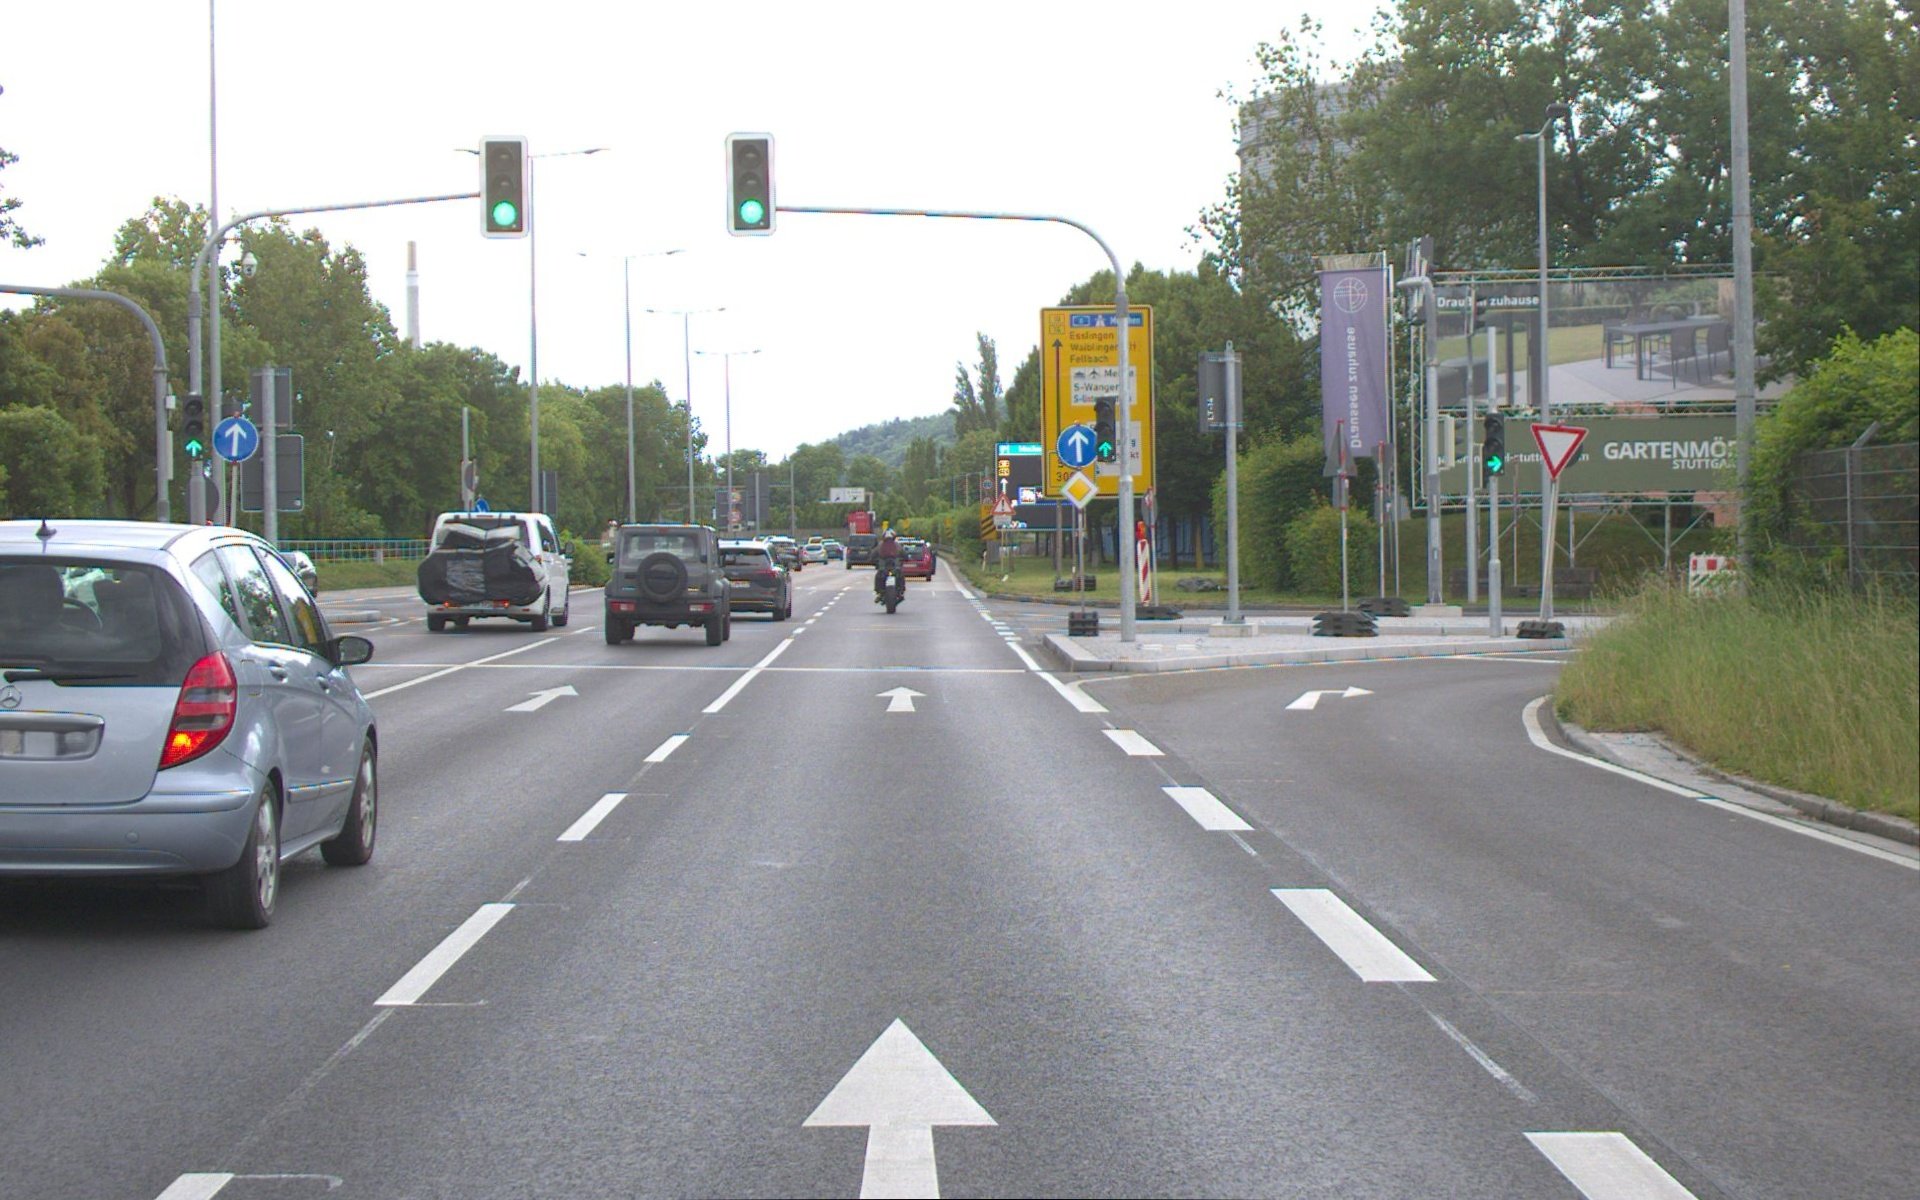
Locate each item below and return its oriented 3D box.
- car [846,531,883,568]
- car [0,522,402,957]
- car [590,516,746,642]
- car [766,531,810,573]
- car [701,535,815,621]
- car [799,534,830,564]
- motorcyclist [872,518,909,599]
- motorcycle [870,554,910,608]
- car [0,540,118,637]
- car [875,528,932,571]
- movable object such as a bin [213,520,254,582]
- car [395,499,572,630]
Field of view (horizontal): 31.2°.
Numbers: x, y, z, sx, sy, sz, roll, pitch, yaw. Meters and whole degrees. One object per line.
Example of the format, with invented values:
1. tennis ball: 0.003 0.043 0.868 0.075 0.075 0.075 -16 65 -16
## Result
1. car: -5.360 -2.853 193.107 1.993 2.007 4.000 1 1 -1
2. car: -3.489 0.461 14.434 1.710 1.525 4.001 1 1 -1
3. car: -4.124 -0.338 49.095 1.907 1.678 4.000 1 1 -1
4. car: -8.548 -2.386 170.862 1.993 2.007 4.000 1 1 -1
5. car: -3.658 -0.427 62.887 1.840 1.459 4.000 2 1 0
6. car: -10.228 -3.599 241.202 1.993 2.007 4.000 2 1 0
7. motorcyclist: -1.399 -0.836 69.214 0.685 1.604 0.845 2 1 1
8. motorcycle: -1.407 -0.396 69.272 0.706 1.036 2.027 2 1 1
9. car: -17.484 -0.251 65.228 1.993 1.678 4.412 1 1 -1
10. car: -2.128 -1.905 128.863 1.993 1.546 4.001 1 1 -2
11. movable object such as a bin: -12.595 -0.853 59.589 0.540 1.055 0.741 1 1 -1
12. car: -7.474 -0.595 54.399 2.214 1.919 5.003 1 1 -2
